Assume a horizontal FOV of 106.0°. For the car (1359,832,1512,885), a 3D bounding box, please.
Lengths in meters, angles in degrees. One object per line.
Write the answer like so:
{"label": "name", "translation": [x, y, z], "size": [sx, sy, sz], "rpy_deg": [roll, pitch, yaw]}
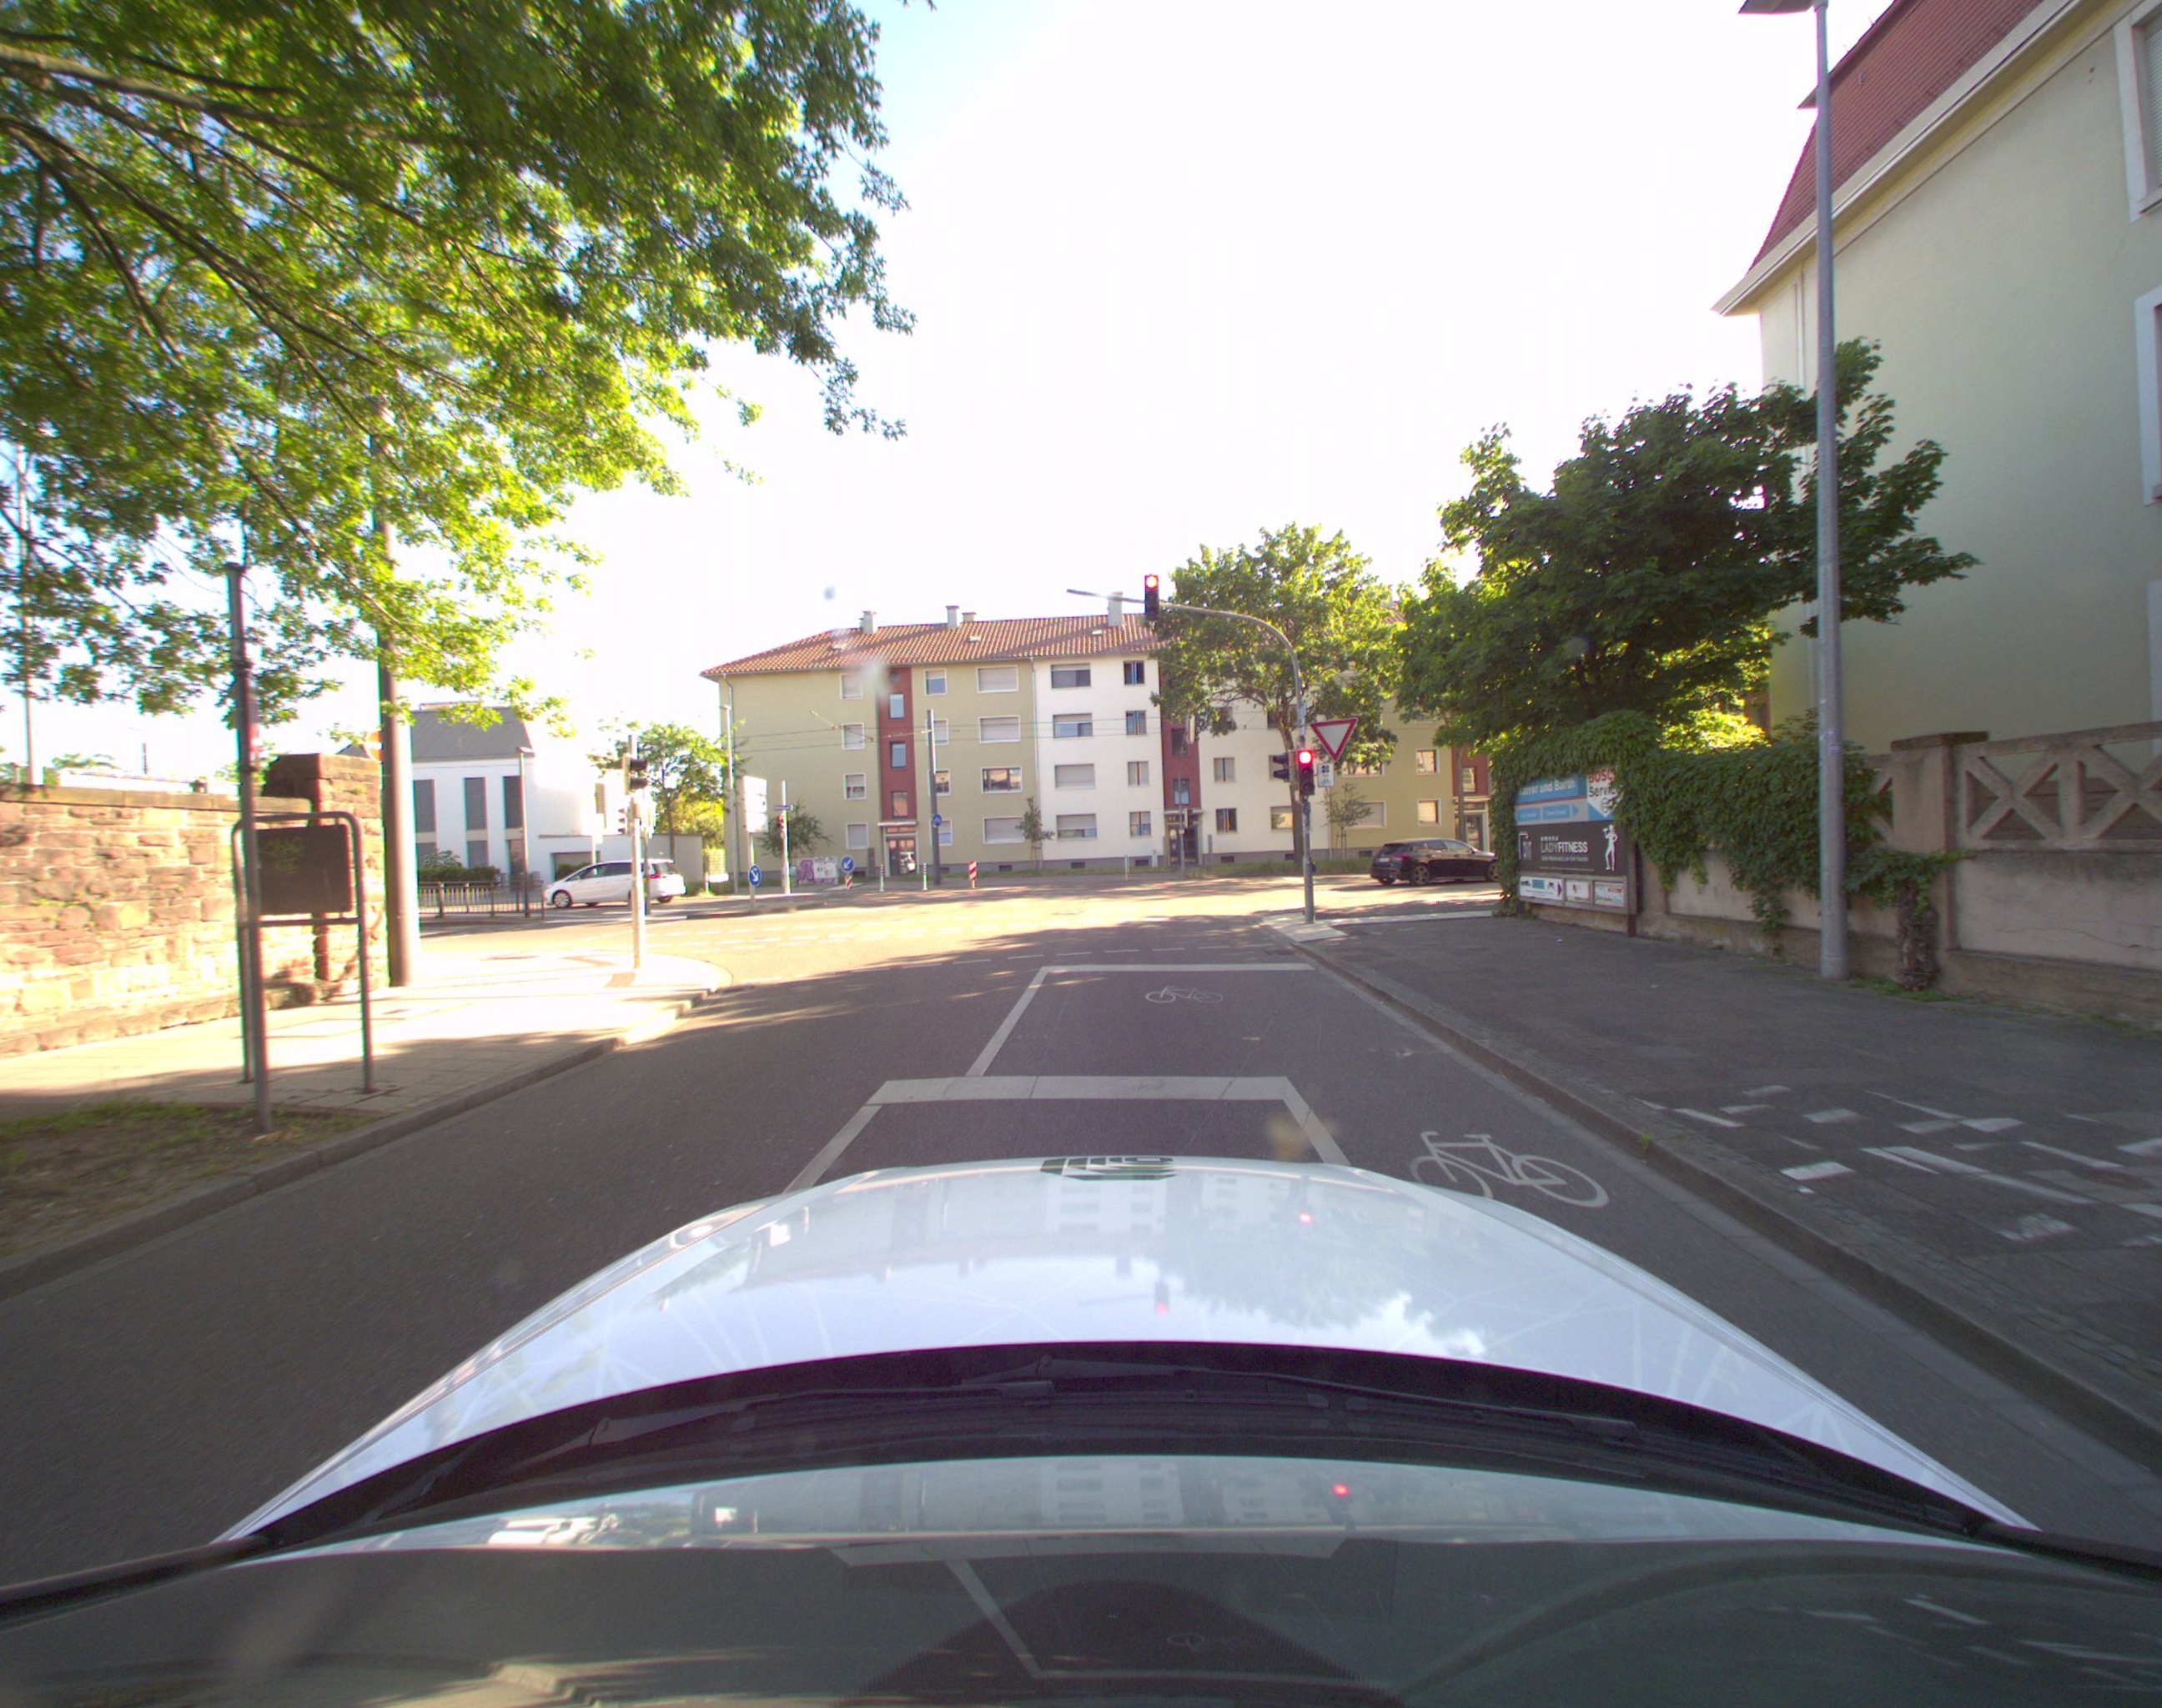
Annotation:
{"label": "car", "translation": [10.874, 0.102, 25.014], "size": [4.207, 1.421, 1.841], "rpy_deg": [-2, 1, -20]}

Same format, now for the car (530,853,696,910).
{"label": "car", "translation": [-16.582, 0.937, 29.047], "size": [4.651, 1.739, 1.998], "rpy_deg": [-2, 1, -3]}
